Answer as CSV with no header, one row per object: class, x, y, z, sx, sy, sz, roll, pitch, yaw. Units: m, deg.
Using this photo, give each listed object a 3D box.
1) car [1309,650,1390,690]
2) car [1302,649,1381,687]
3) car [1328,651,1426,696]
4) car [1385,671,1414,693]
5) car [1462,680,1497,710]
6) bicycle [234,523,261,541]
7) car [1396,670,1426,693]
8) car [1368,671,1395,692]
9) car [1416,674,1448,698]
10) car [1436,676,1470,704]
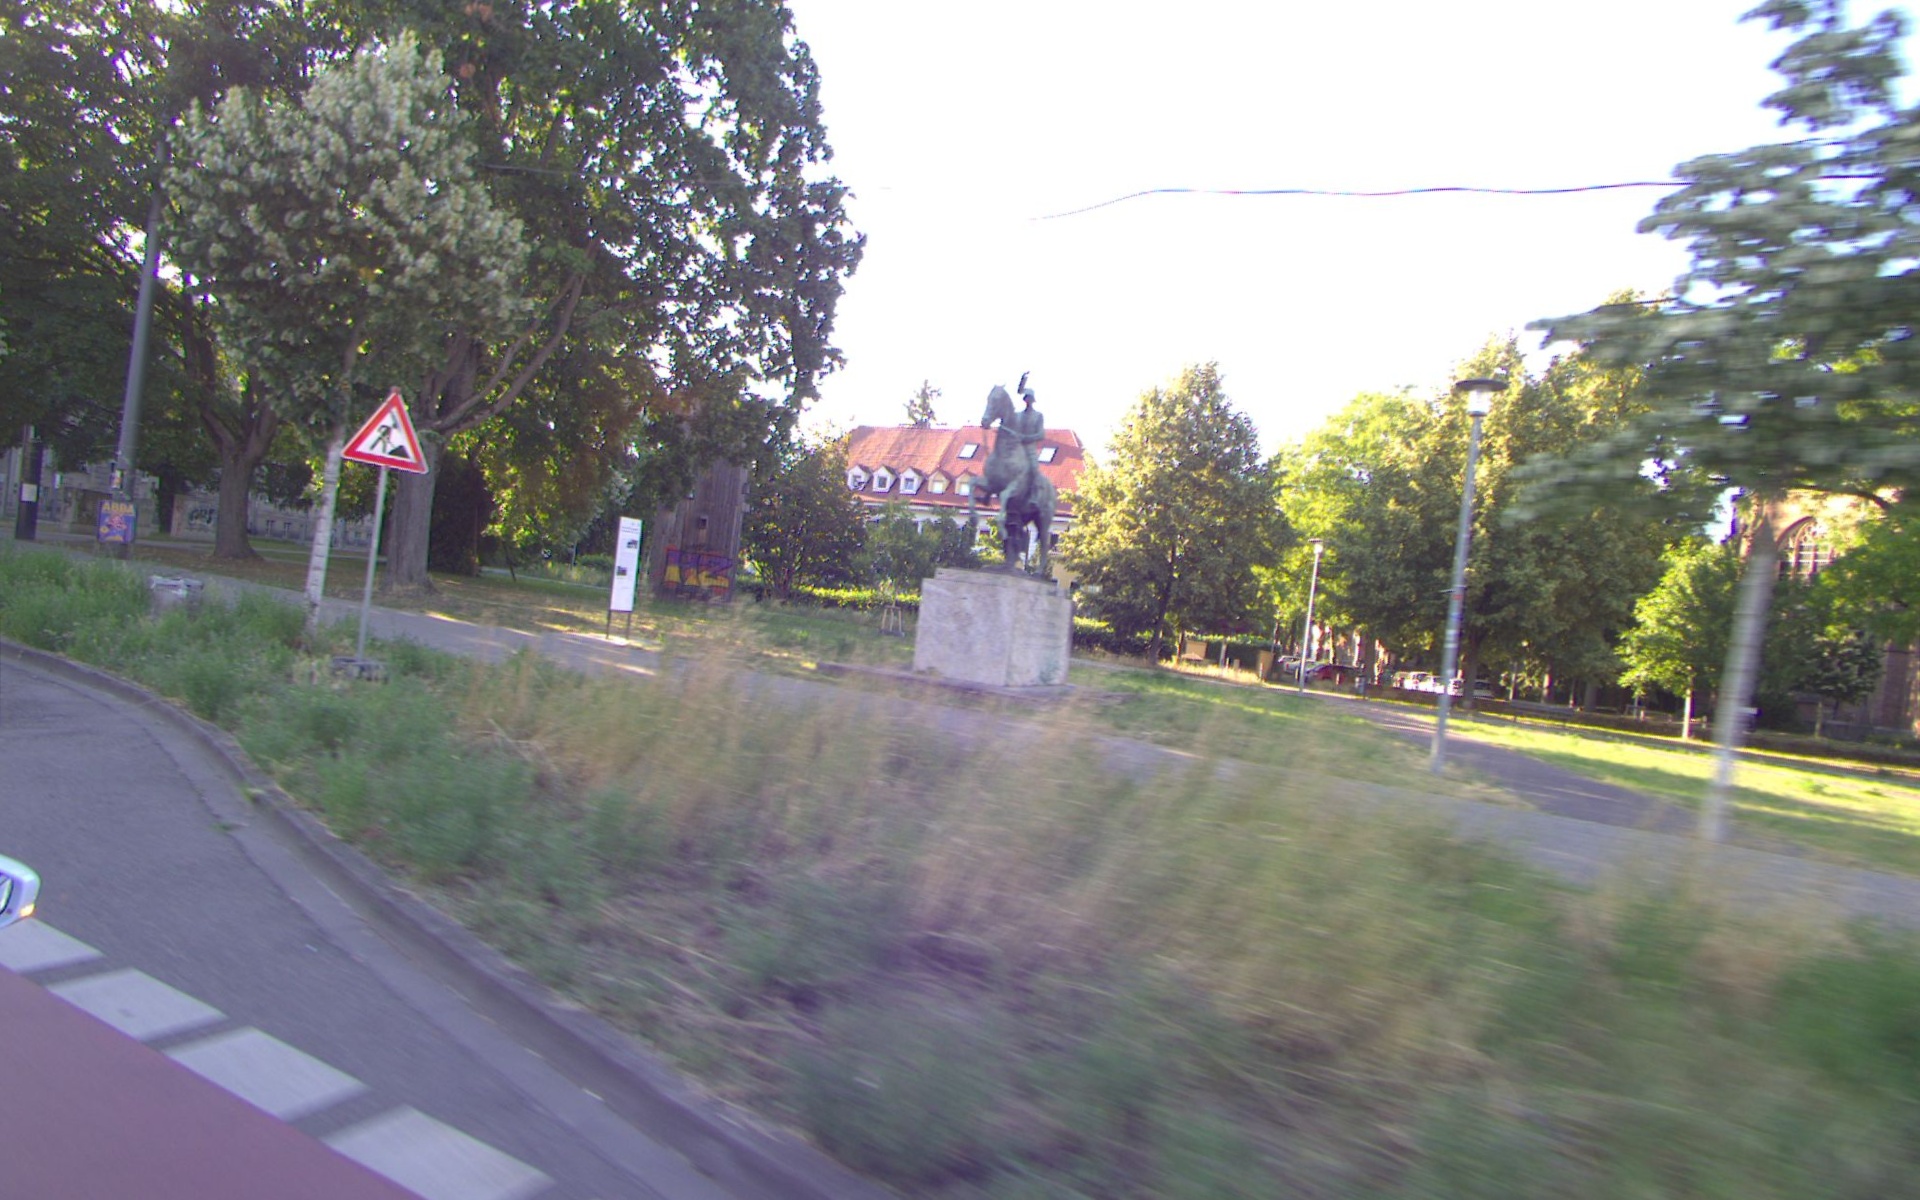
car,22.166,3.952,57.257,4.083,1.650,1.870,7,0,24
car,22.605,4.005,59.593,4.083,1.639,1.870,7,0,24
car,22.059,3.876,53.406,4.551,1.739,2.000,7,0,19
car,35.158,6.572,80.511,1.537,1.466,3.503,7,-1,31
car,30.958,5.648,59.863,1.570,1.527,4.154,7,-1,30
bicycle,-57.116,-5.449,80.698,0.841,1.114,1.979,9,-1,-8
car,33.827,6.131,75.437,1.537,1.466,3.503,7,-1,31
car,36.044,6.976,86.033,1.537,1.466,3.503,7,-1,31
car,33.170,6.068,70.700,1.537,1.466,3.503,7,-1,31
car,32.249,5.899,65.764,1.601,1.528,4.152,7,-1,30
